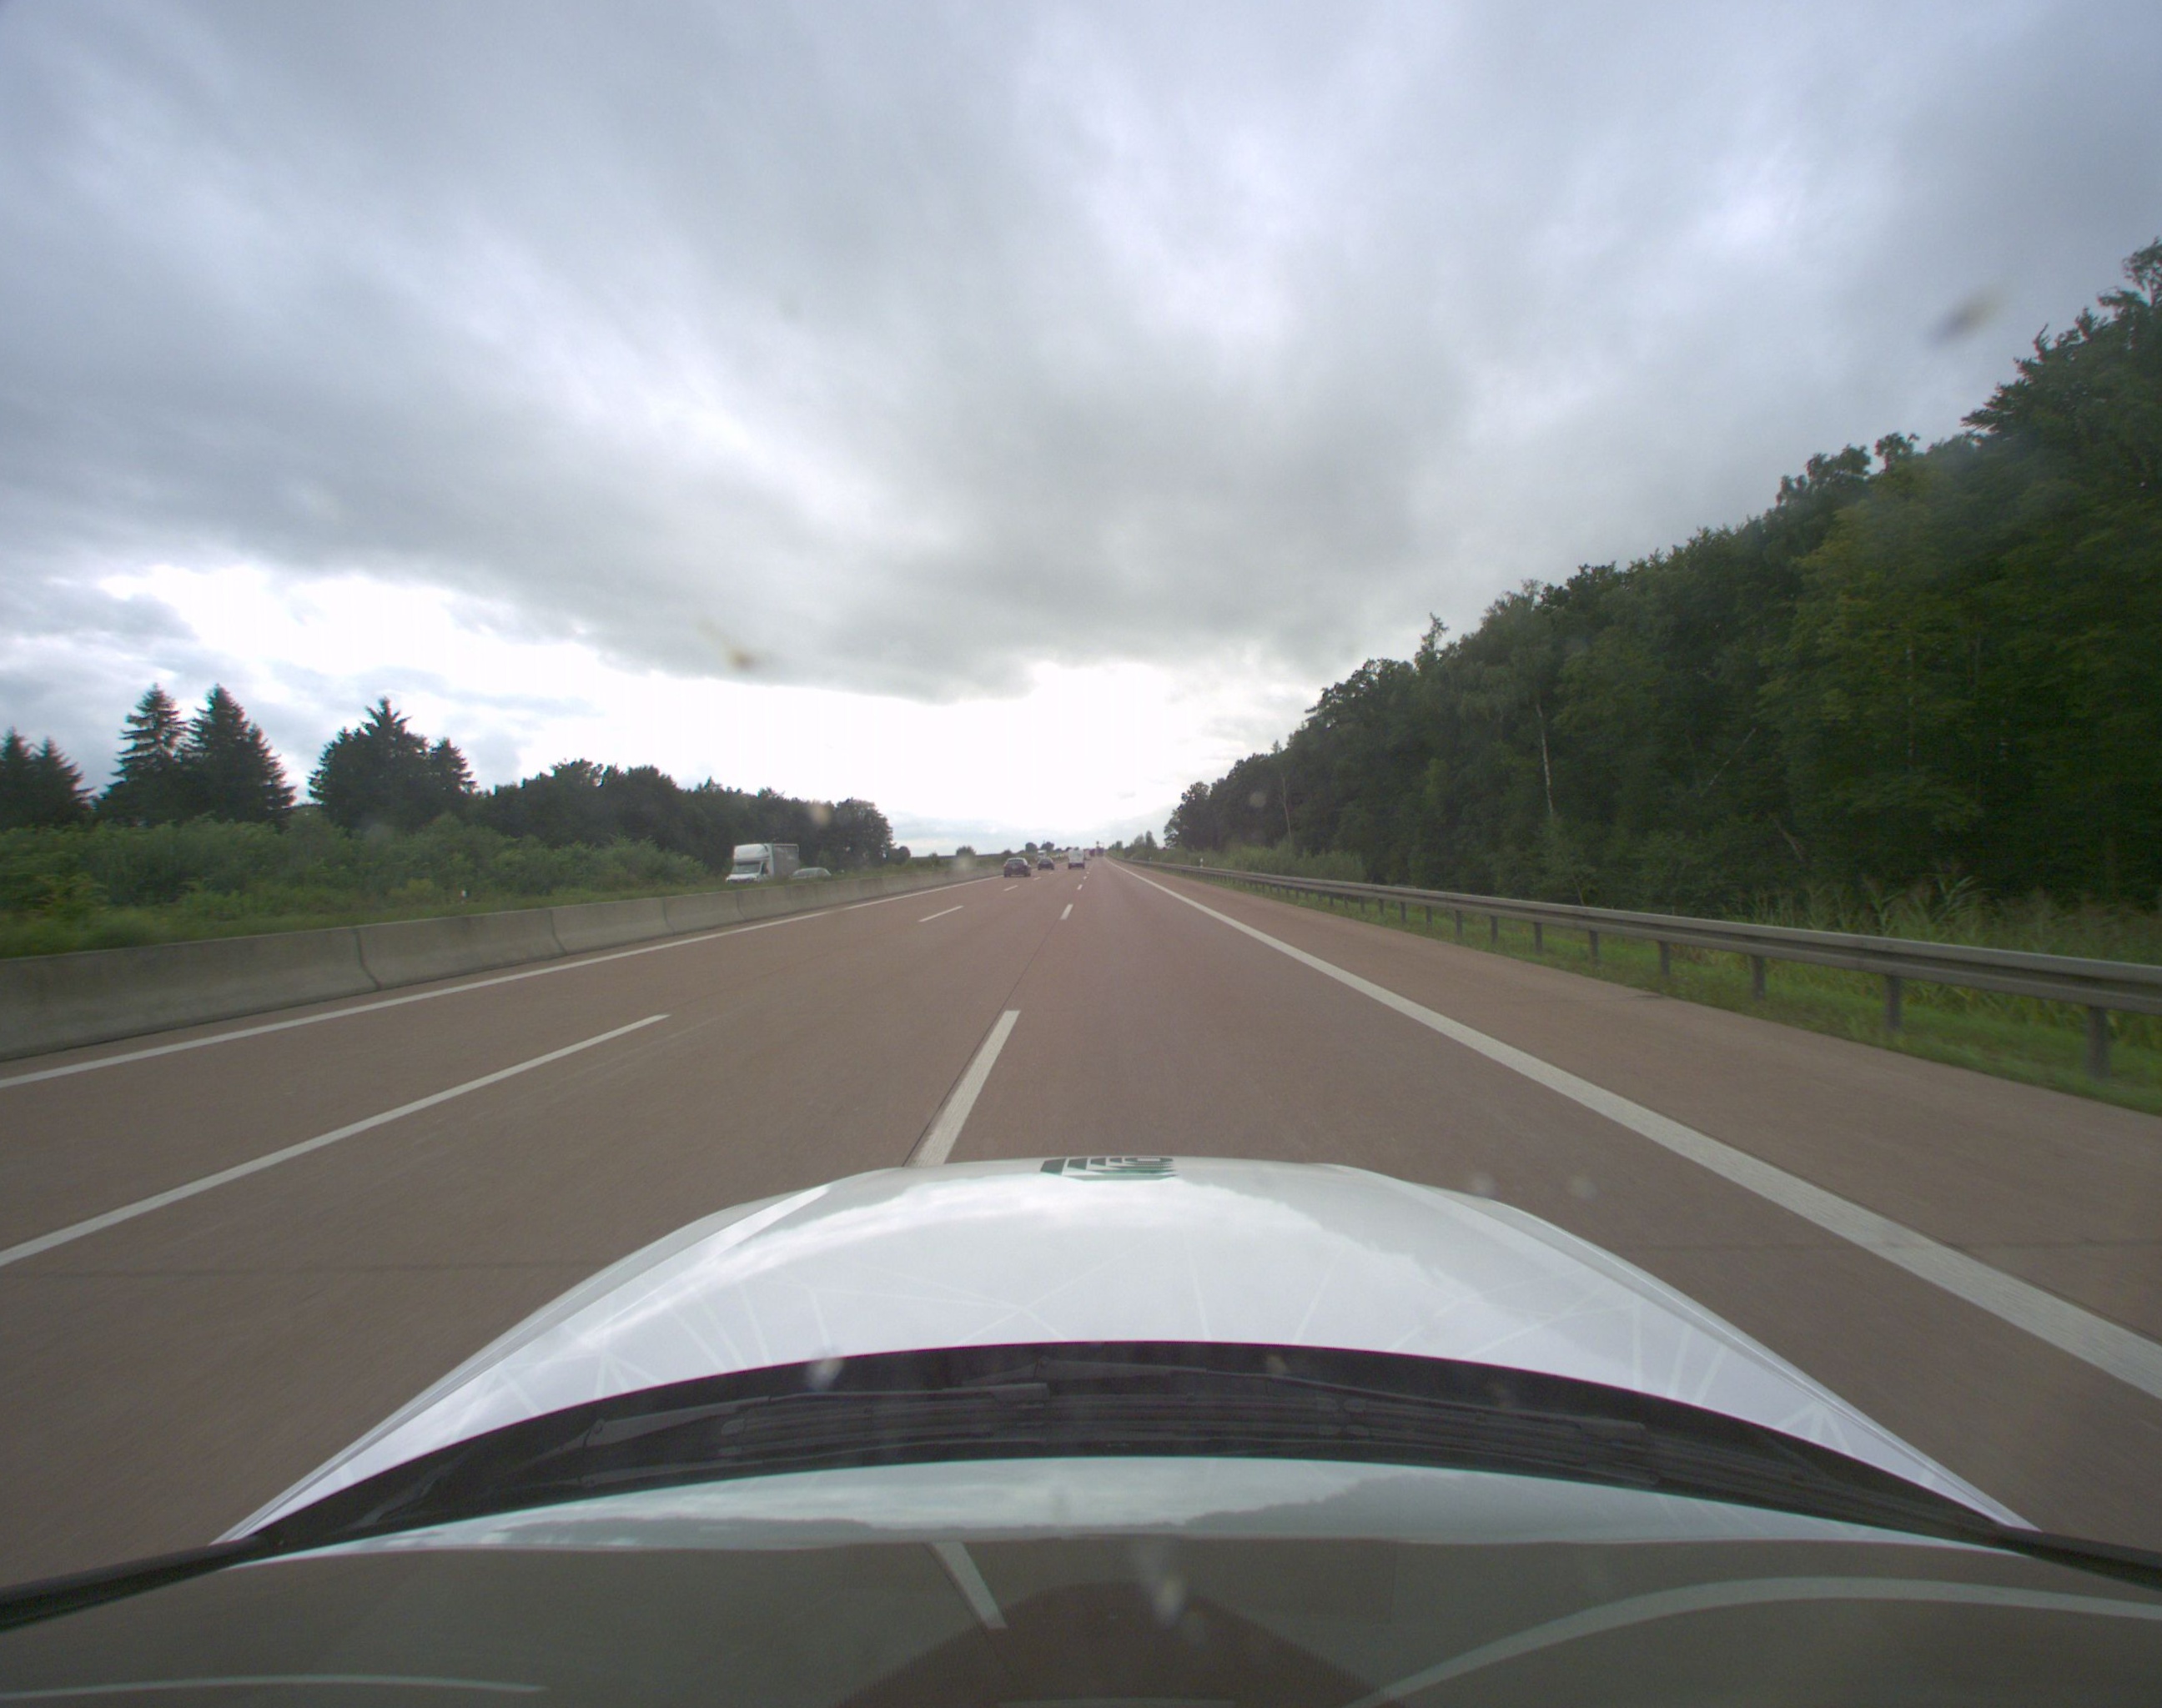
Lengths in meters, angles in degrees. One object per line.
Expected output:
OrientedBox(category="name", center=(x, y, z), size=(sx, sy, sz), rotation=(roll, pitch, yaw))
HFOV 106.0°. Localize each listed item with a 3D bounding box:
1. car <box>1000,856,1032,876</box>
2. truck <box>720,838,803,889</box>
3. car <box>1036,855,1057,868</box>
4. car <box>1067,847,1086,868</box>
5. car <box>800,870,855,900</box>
OrientedBox(category="car", center=(-5.146, 0.901, 65.252), size=(2.052, 1.491, 5.452), rotation=(-1, 0, 0))
OrientedBox(category="truck", center=(-20.886, 0.575, 53.749), size=(2.348, 3.099, 7.483), rotation=(1, 0, 1))
OrientedBox(category="car", center=(-4.169, 0.915, 99.364), size=(2.077, 1.550, 5.677), rotation=(0, 0, 2))
OrientedBox(category="car", center=(-0.509, 0.354, 102.504), size=(2.129, 2.507, 7.134), rotation=(-1, 0, 2))
OrientedBox(category="car", center=(-15.540, 1.877, 50.153), size=(1.986, 1.653, 4.167), rotation=(1, 0, 1))
